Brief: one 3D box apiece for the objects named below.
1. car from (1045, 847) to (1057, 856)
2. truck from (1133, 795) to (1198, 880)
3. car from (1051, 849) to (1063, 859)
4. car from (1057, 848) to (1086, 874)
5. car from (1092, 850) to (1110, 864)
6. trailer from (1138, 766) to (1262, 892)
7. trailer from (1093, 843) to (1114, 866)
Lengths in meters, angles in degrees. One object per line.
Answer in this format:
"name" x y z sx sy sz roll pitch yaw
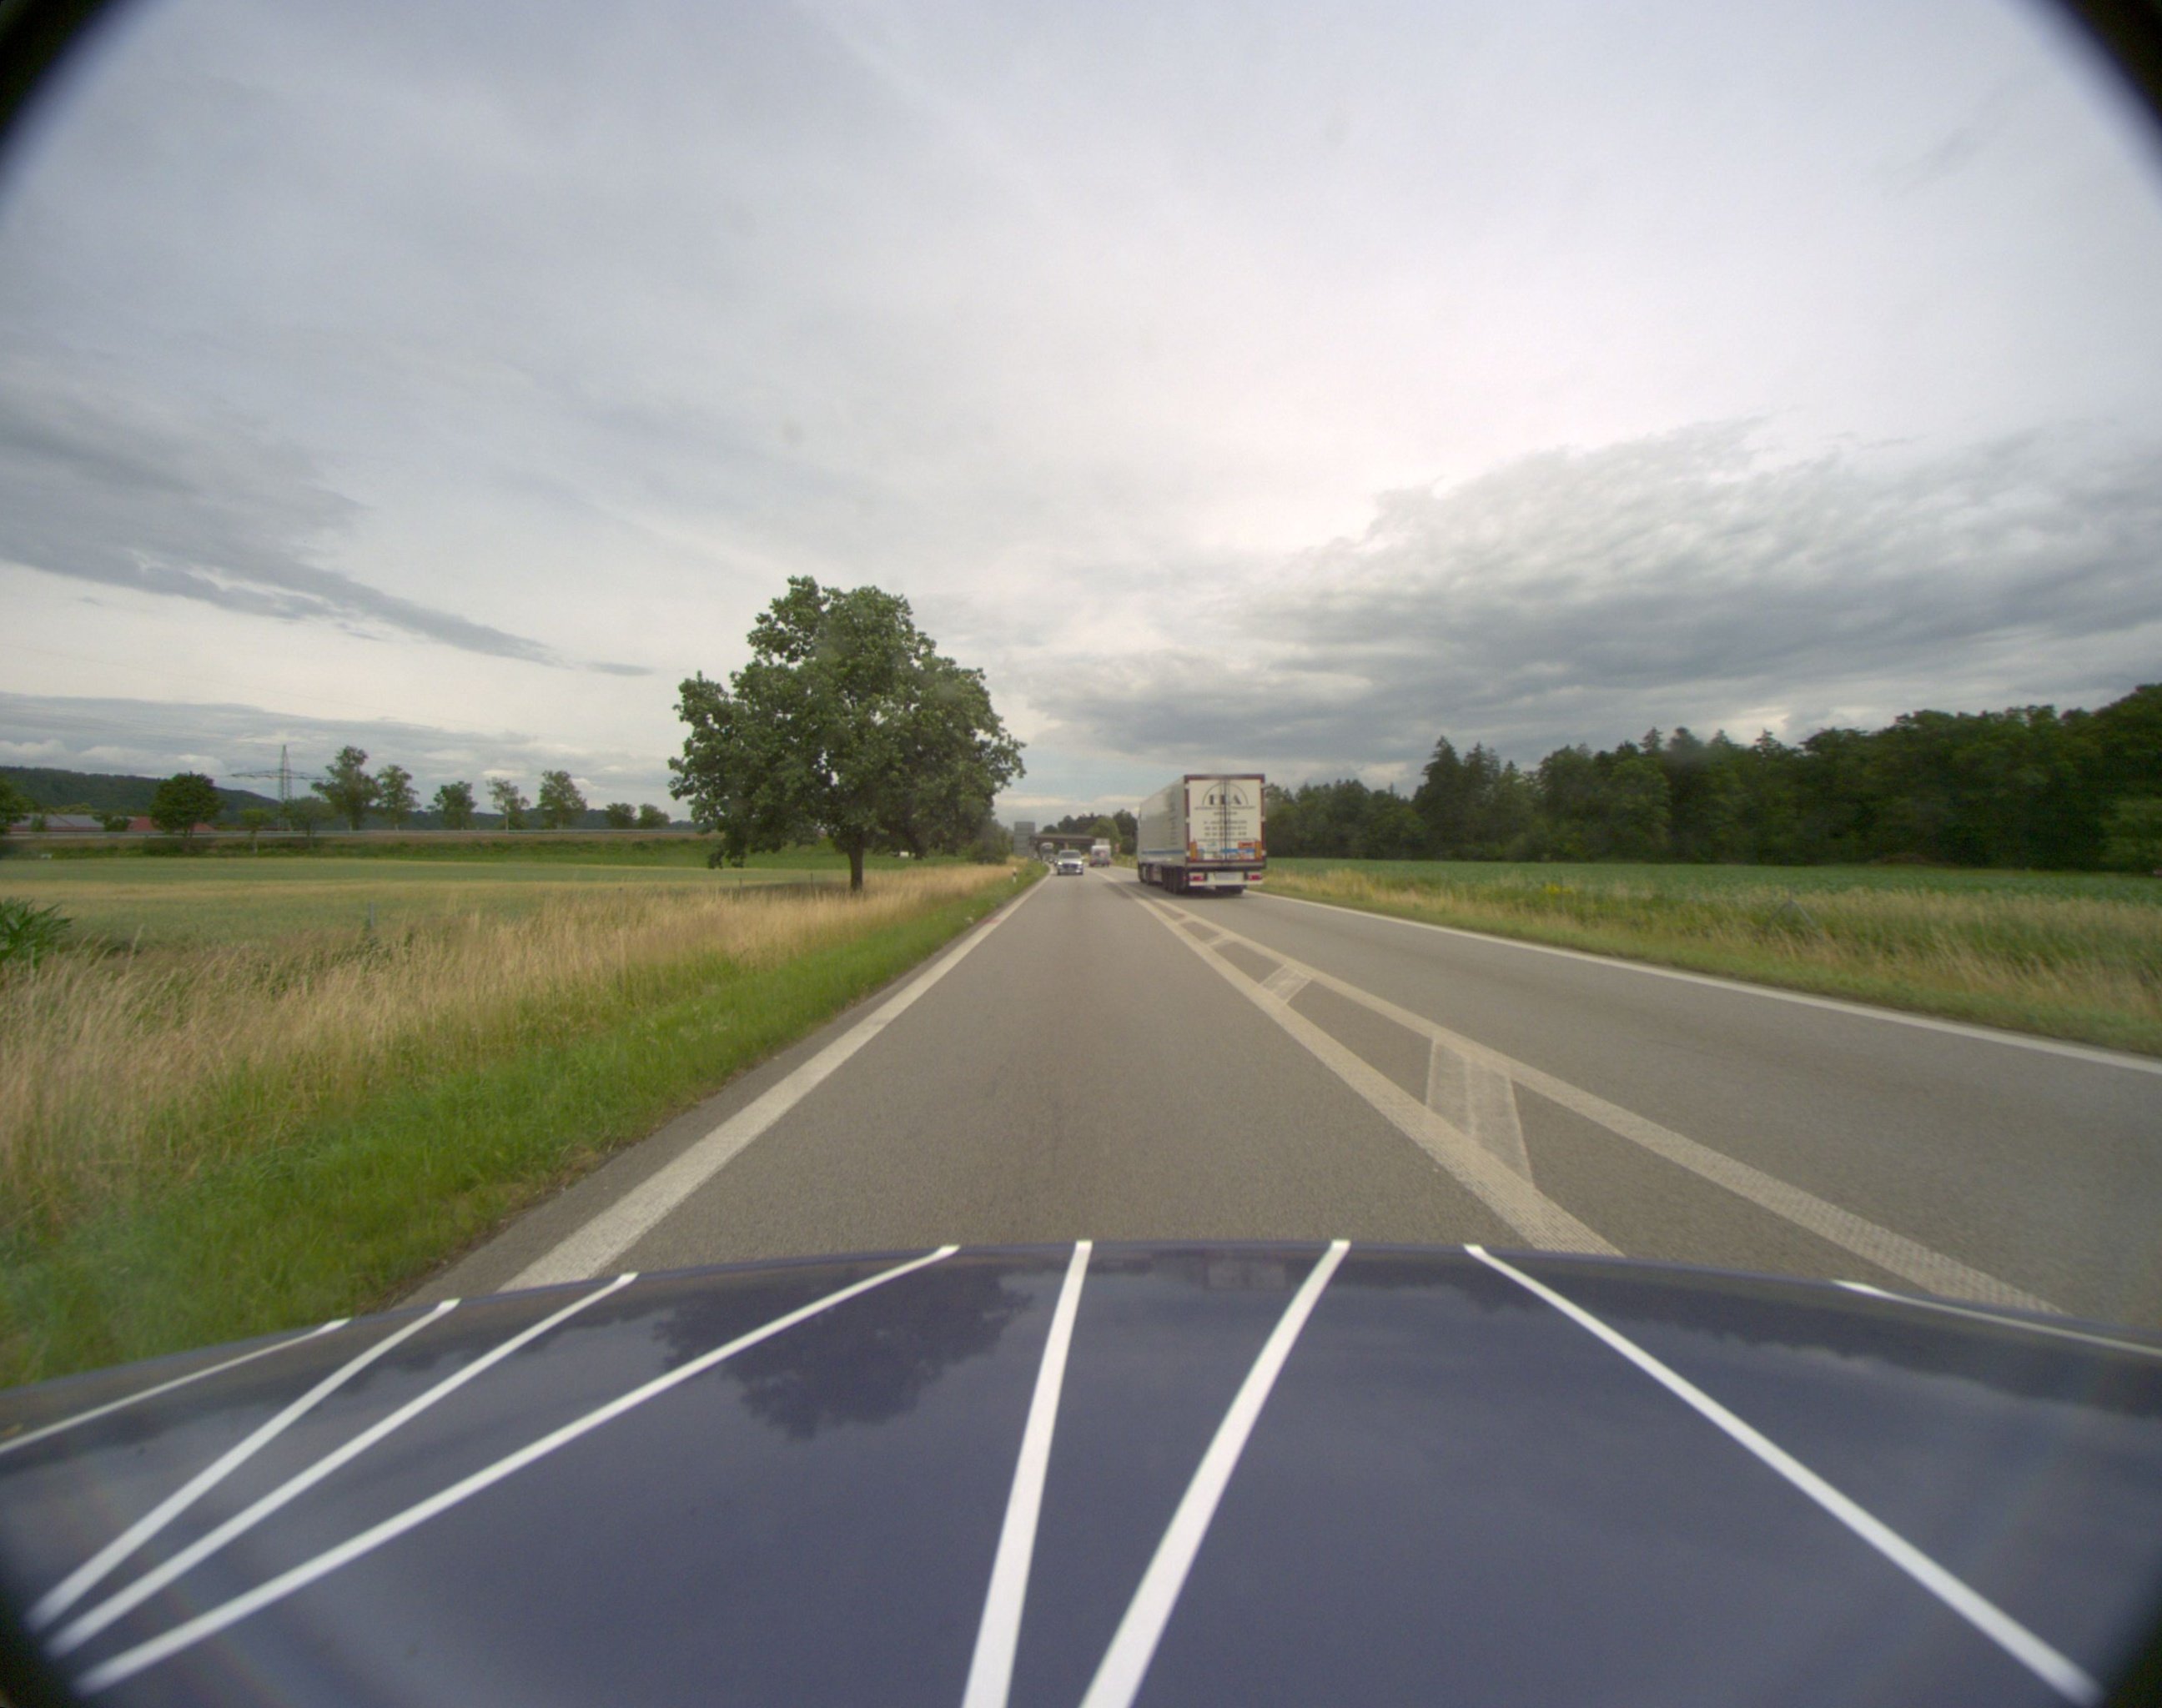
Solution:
"car" -6.732 -0.529 170.584 1.998 2.002 4.001 -2 1 5
"truck" 4.145 -0.770 38.092 2.496 3.972 5.203 -1 0 -2
"car" -4.082 -0.015 131.004 1.862 1.679 4.112 -2 1 0
"car" -0.745 0.498 57.396 1.924 1.823 3.998 -2 1 -4
"car" 2.484 0.333 96.186 2.011 1.648 4.326 -2 1 -1
"trailer" 4.276 -0.776 30.663 2.496 3.972 13.073 -1 0 -2
"trailer" 2.648 0.054 90.914 2.187 2.560 6.242 -2 1 -1
